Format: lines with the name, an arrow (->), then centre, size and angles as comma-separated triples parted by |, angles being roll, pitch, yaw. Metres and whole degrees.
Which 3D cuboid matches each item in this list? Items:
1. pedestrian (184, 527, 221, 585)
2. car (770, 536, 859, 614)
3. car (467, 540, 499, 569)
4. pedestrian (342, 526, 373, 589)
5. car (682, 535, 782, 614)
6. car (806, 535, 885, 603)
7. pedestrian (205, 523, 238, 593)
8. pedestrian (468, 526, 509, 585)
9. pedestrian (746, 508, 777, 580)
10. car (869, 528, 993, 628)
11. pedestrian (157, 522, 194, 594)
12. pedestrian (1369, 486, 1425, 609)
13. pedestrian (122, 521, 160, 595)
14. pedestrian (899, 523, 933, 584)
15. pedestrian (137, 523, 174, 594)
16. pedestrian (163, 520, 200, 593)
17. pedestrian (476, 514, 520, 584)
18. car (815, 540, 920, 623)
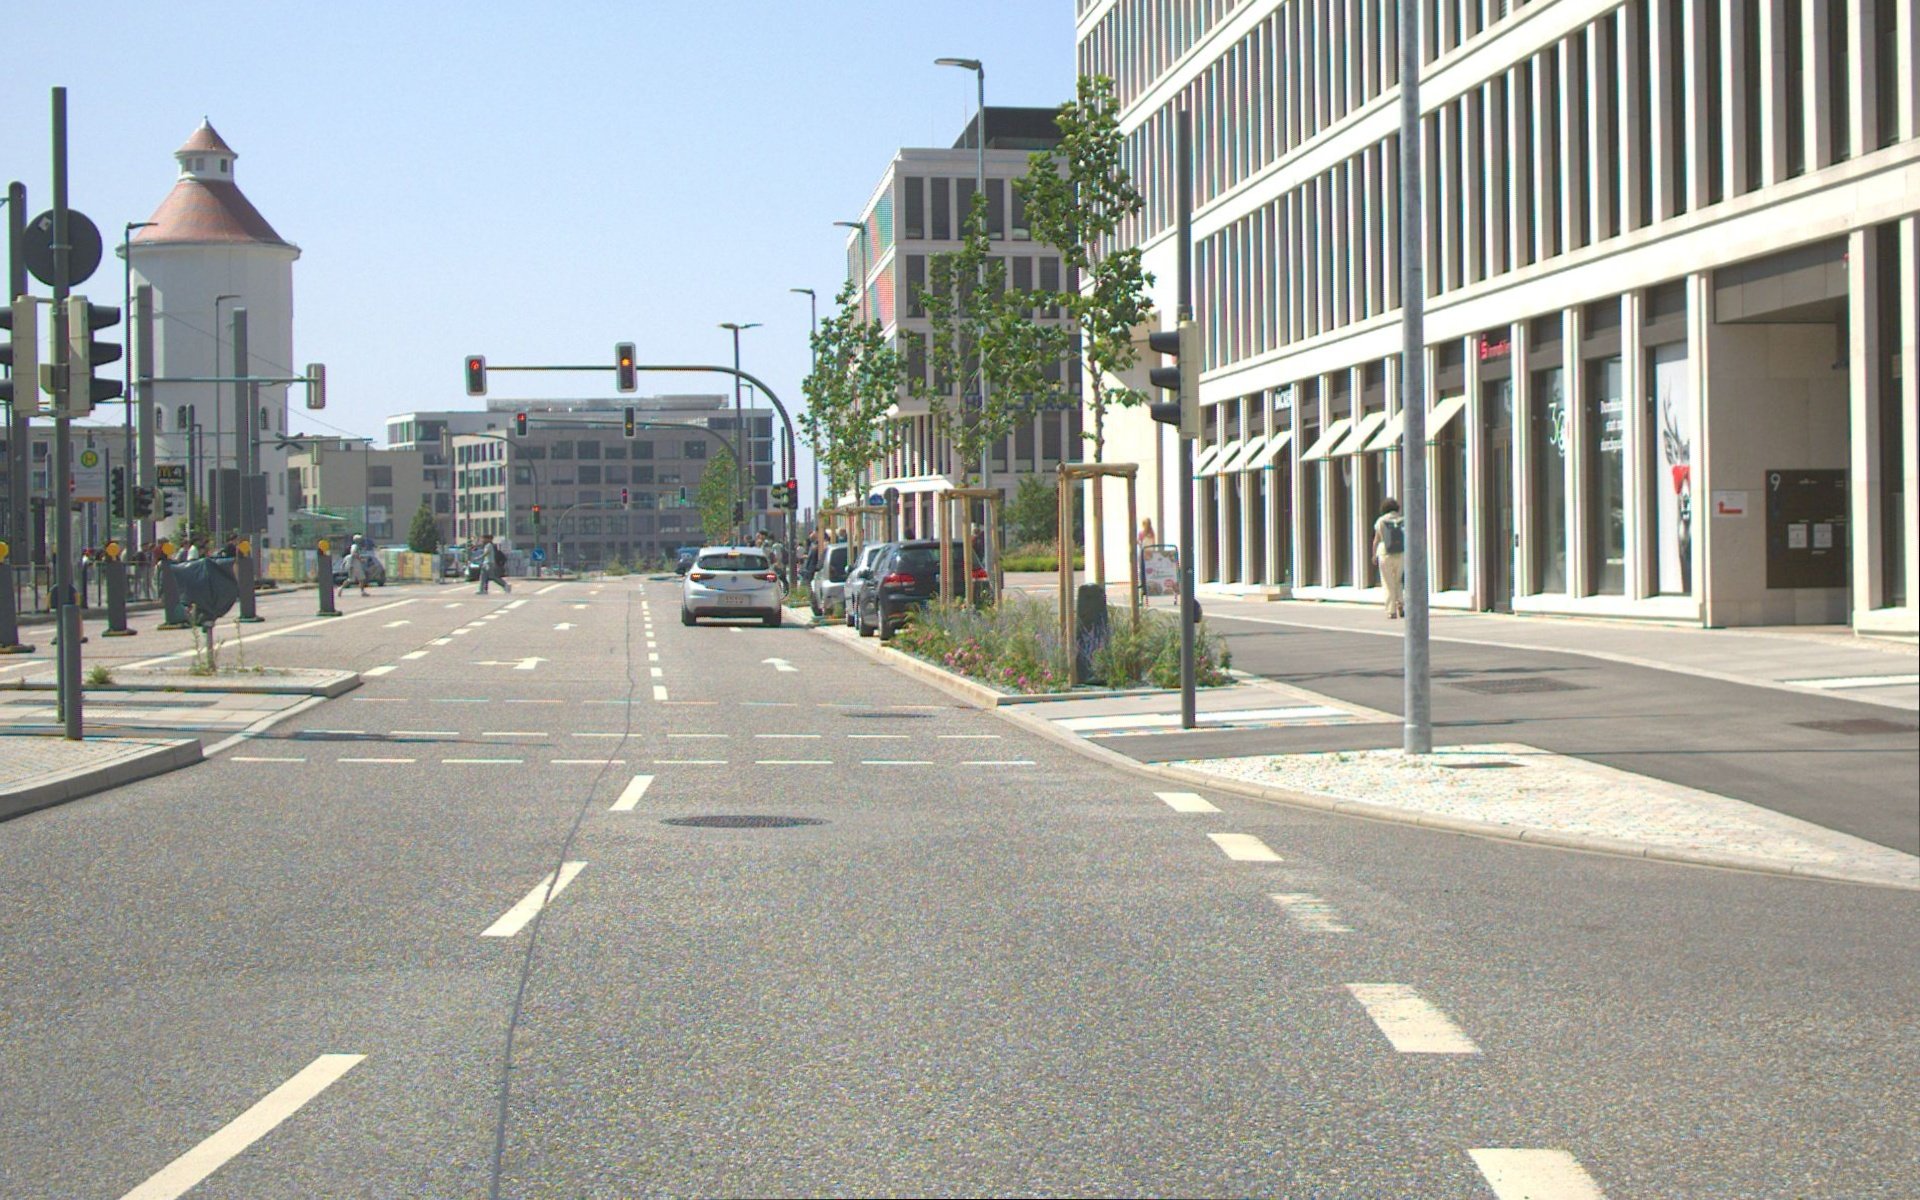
pedestrian -> -21.965, -1.278, 99.740 | 0.888, 1.641, 0.796 | -1, 1, -1
car -> -2.882, -0.511, 67.748 | 1.555, 1.467, 3.471 | -1, 1, -5
car -> -25.625, -2.450, 184.767 | 1.586, 1.525, 3.693 | 0, 0, -6
pedestrian -> -16.720, -1.178, 95.361 | 0.766, 1.728, 0.692 | -1, 1, -4
car -> -4.205, -0.454, 63.616 | 1.771, 1.390, 3.532 | 1, 0, -3
car -> -2.444, -0.675, 72.694 | 1.429, 1.385, 4.001 | -1, 1, -5
pedestrian -> -20.050, -1.134, 93.378 | 0.766, 1.884, 0.692 | -1, 1, -4
pedestrian -> -13.484, -1.282, 98.280 | 0.893, 1.668, 1.013 | -1, 1, -23
pedestrian -> -5.280, -1.490, 91.370 | 0.730, 1.884, 0.821 | -1, 1, 1
car -> -0.482, -0.345, 52.525 | 1.736, 1.469, 3.981 | 0, 0, -3
pedestrian -> -20.602, -1.111, 90.250 | 0.887, 1.884, 0.692 | -1, 1, -10
pedestrian -> 6.265, -0.753, 49.287 | 0.627, 1.736, 0.814 | -1, 1, -5
pedestrian -> -21.242, -1.090, 89.148 | 0.887, 1.884, 0.692 | -1, 1, -10
pedestrian -> -1.186, -1.250, 92.378 | 0.766, 1.614, 0.691 | 0, 1, 12
pedestrian -> -21.283, -1.099, 90.977 | 0.887, 1.884, 0.692 | -1, 1, -10
pedestrian -> -20.138, -1.131, 88.938 | 0.887, 1.884, 0.692 | -1, 1, -10
pedestrian -> -13.330, -1.473, 99.155 | 1.020, 2.007, 0.954 | -1, 1, -23
car -> -1.647, -0.348, 60.446 | 1.605, 1.383, 3.815 | -1, 1, -5
